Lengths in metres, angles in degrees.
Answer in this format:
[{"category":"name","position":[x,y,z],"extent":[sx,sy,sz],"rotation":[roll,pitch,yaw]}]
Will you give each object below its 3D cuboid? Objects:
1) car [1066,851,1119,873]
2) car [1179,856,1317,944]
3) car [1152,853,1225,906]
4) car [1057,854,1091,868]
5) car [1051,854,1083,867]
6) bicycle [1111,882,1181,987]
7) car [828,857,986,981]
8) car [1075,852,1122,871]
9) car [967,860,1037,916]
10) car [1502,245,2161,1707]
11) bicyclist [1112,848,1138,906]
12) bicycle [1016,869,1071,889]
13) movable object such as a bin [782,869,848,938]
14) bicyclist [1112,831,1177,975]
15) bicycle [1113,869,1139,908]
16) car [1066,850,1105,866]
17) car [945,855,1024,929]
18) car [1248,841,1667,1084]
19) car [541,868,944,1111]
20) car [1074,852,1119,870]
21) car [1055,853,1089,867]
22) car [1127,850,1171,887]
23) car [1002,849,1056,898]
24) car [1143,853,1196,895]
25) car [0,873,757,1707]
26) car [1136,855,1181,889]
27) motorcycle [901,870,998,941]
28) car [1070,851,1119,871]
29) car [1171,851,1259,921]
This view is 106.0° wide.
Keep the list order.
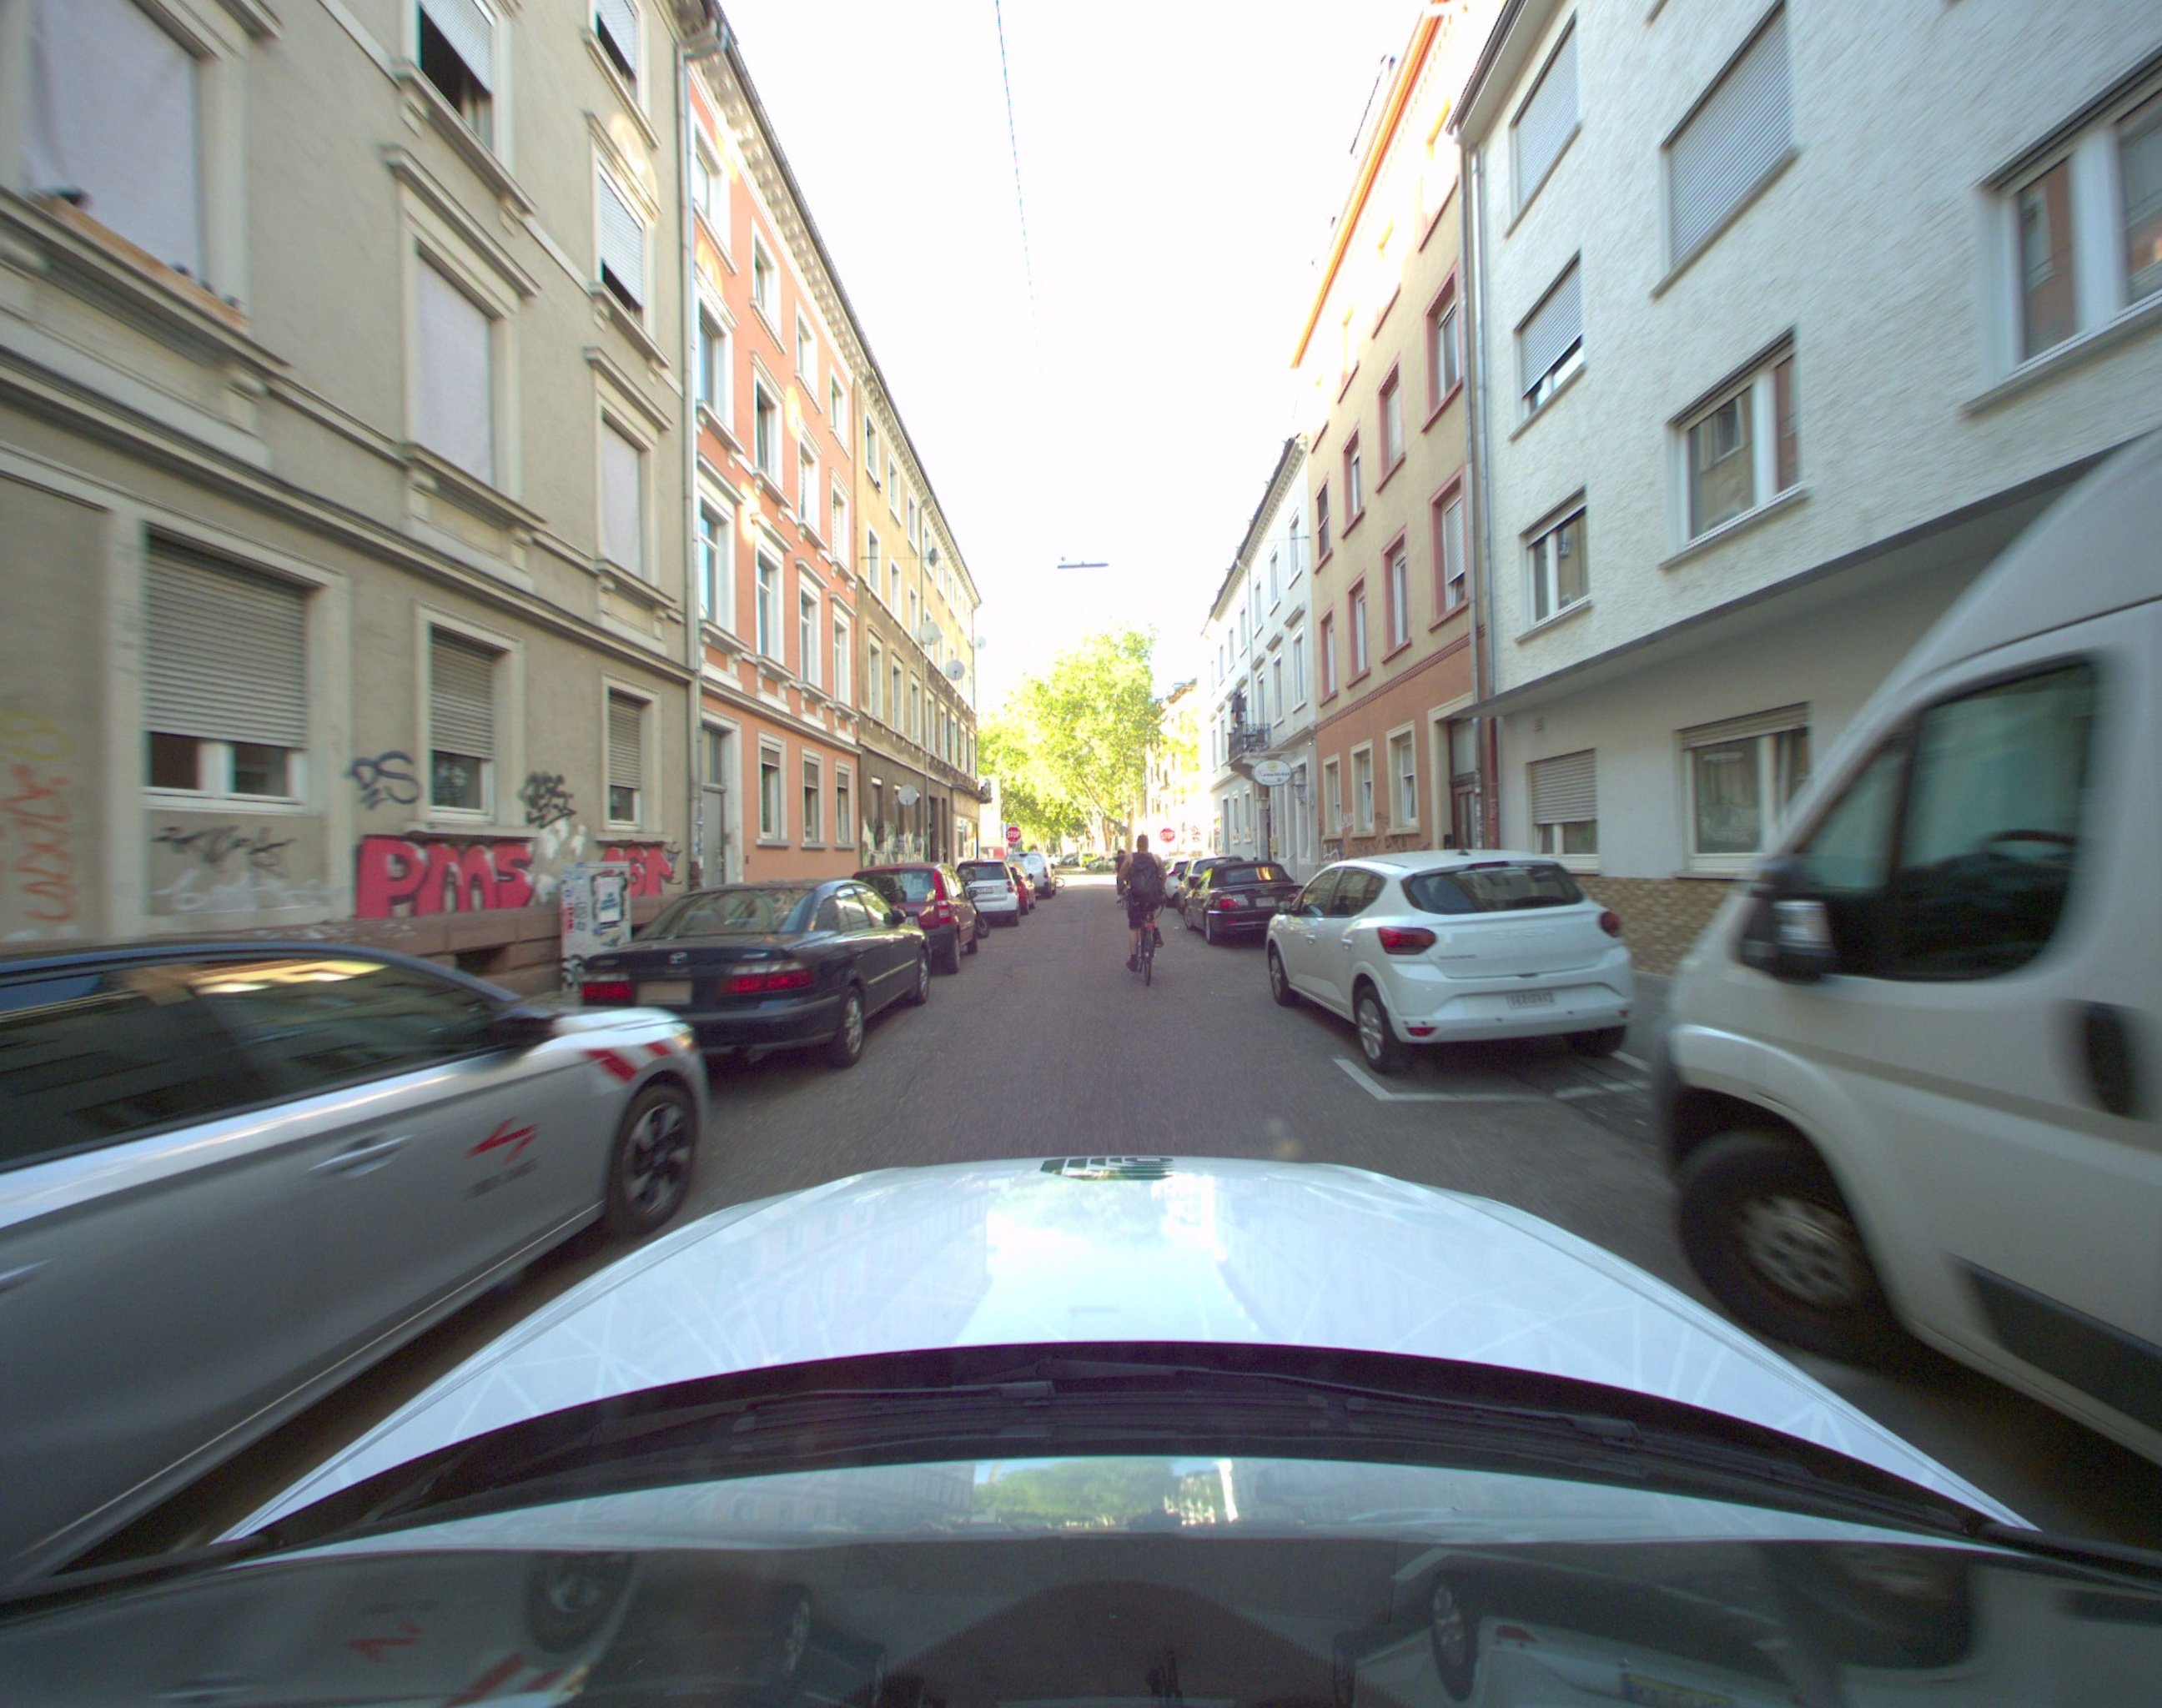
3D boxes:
[{"category":"car","position":[0.960,0.666,71.082],"extent":[4.459,1.759,1.864],"rotation":[-2,0,-4]},{"category":"car","position":[2.903,0.732,14.997],"extent":[1.652,1.338,3.999],"rotation":[-2,0,-1]},{"category":"car","position":[3.268,0.746,25.433],"extent":[1.705,1.470,3.999],"rotation":[-2,0,-1]},{"category":"car","position":[-0.967,0.921,109.160],"extent":[4.459,1.696,1.864],"rotation":[-2,0,-4]},{"category":"car","position":[-2.056,0.955,119.113],"extent":[4.459,1.696,1.864],"rotation":[-2,0,-4]},{"category":"bicycle","position":[0.766,0.930,10.102],"extent":[0.737,1.100,2.042],"rotation":[0,0,1]},{"category":"car","position":[-2.466,0.850,12.283],"extent":[1.600,1.530,3.378],"rotation":[-3,0,-1]},{"category":"car","position":[1.731,0.702,80.796],"extent":[4.459,1.696,1.864],"rotation":[-2,0,-4]},{"category":"car","position":[-2.191,0.912,23.423],"extent":[1.547,1.399,3.668],"rotation":[-2,0,1]},{"category":"car","position":[2.937,0.211,0.587],"extent":[2.196,2.551,6.038],"rotation":[-2,0,1]},{"category":"bicyclist","position":[1.276,0.671,23.899],"extent":[0.667,1.658,0.877],"rotation":[-2,0,1]},{"category":"bicycle","position":[-1.892,1.262,41.247],"extent":[2.708,0.892,0.618],"rotation":[-2,0,-2]},{"category":"movable object such as a bin","position":[-4.857,0.895,14.937],"extent":[0.831,1.126,0.716],"rotation":[-6,-1,3]},{"category":"bicyclist","position":[0.766,0.577,10.082],"extent":[0.737,1.679,1.116],"rotation":[0,0,1]},{"category":"bicycle","position":[1.301,1.003,23.959],"extent":[0.662,1.037,1.959],"rotation":[-2,0,1]},{"category":"car","position":[0.469,0.508,96.167],"extent":[4.459,1.696,1.864],"rotation":[-2,0,-4]},{"category":"car","position":[-2.236,0.839,19.658],"extent":[1.540,1.550,3.462],"rotation":[-2,0,-2]},{"category":"car","position":[2.809,0.686,7.179],"extent":[1.726,1.470,4.018],"rotation":[-2,0,-2]},{"category":"car","position":[-2.512,0.897,7.323],"extent":[1.700,1.414,4.303],"rotation":[-2,0,1]},{"category":"car","position":[1.581,0.732,83.110],"extent":[4.459,1.696,1.864],"rotation":[-2,0,-4]},{"category":"car","position":[-1.251,0.833,112.023],"extent":[4.459,1.696,1.864],"rotation":[-2,0,-4]},{"category":"car","position":[3.541,0.739,43.133],"extent":[1.887,1.769,3.998],"rotation":[-2,0,-1]},{"category":"car","position":[-1.970,0.717,31.861],"extent":[1.781,1.737,3.876],"rotation":[-2,0,1]},{"category":"car","position":[3.496,0.743,32.540],"extent":[1.647,1.530,3.573],"rotation":[-2,0,-1]},{"category":"car","position":[-2.672,0.849,2.369],"extent":[1.666,1.430,3.892],"rotation":[-2,0,3]},{"category":"car","position":[3.578,0.804,38.115],"extent":[1.681,1.471,3.573],"rotation":[-2,0,-1]},{"category":"motorcycle","position":[-2.579,0.975,15.909],"extent":[1.797,1.256,0.707],"rotation":[-2,0,-13]},{"category":"car","position":[1.228,0.655,76.225],"extent":[4.459,1.696,1.864],"rotation":[-2,0,-4]},{"category":"car","position":[3.184,0.719,19.975],"extent":[1.586,1.492,3.877],"rotation":[-2,0,2]}]
